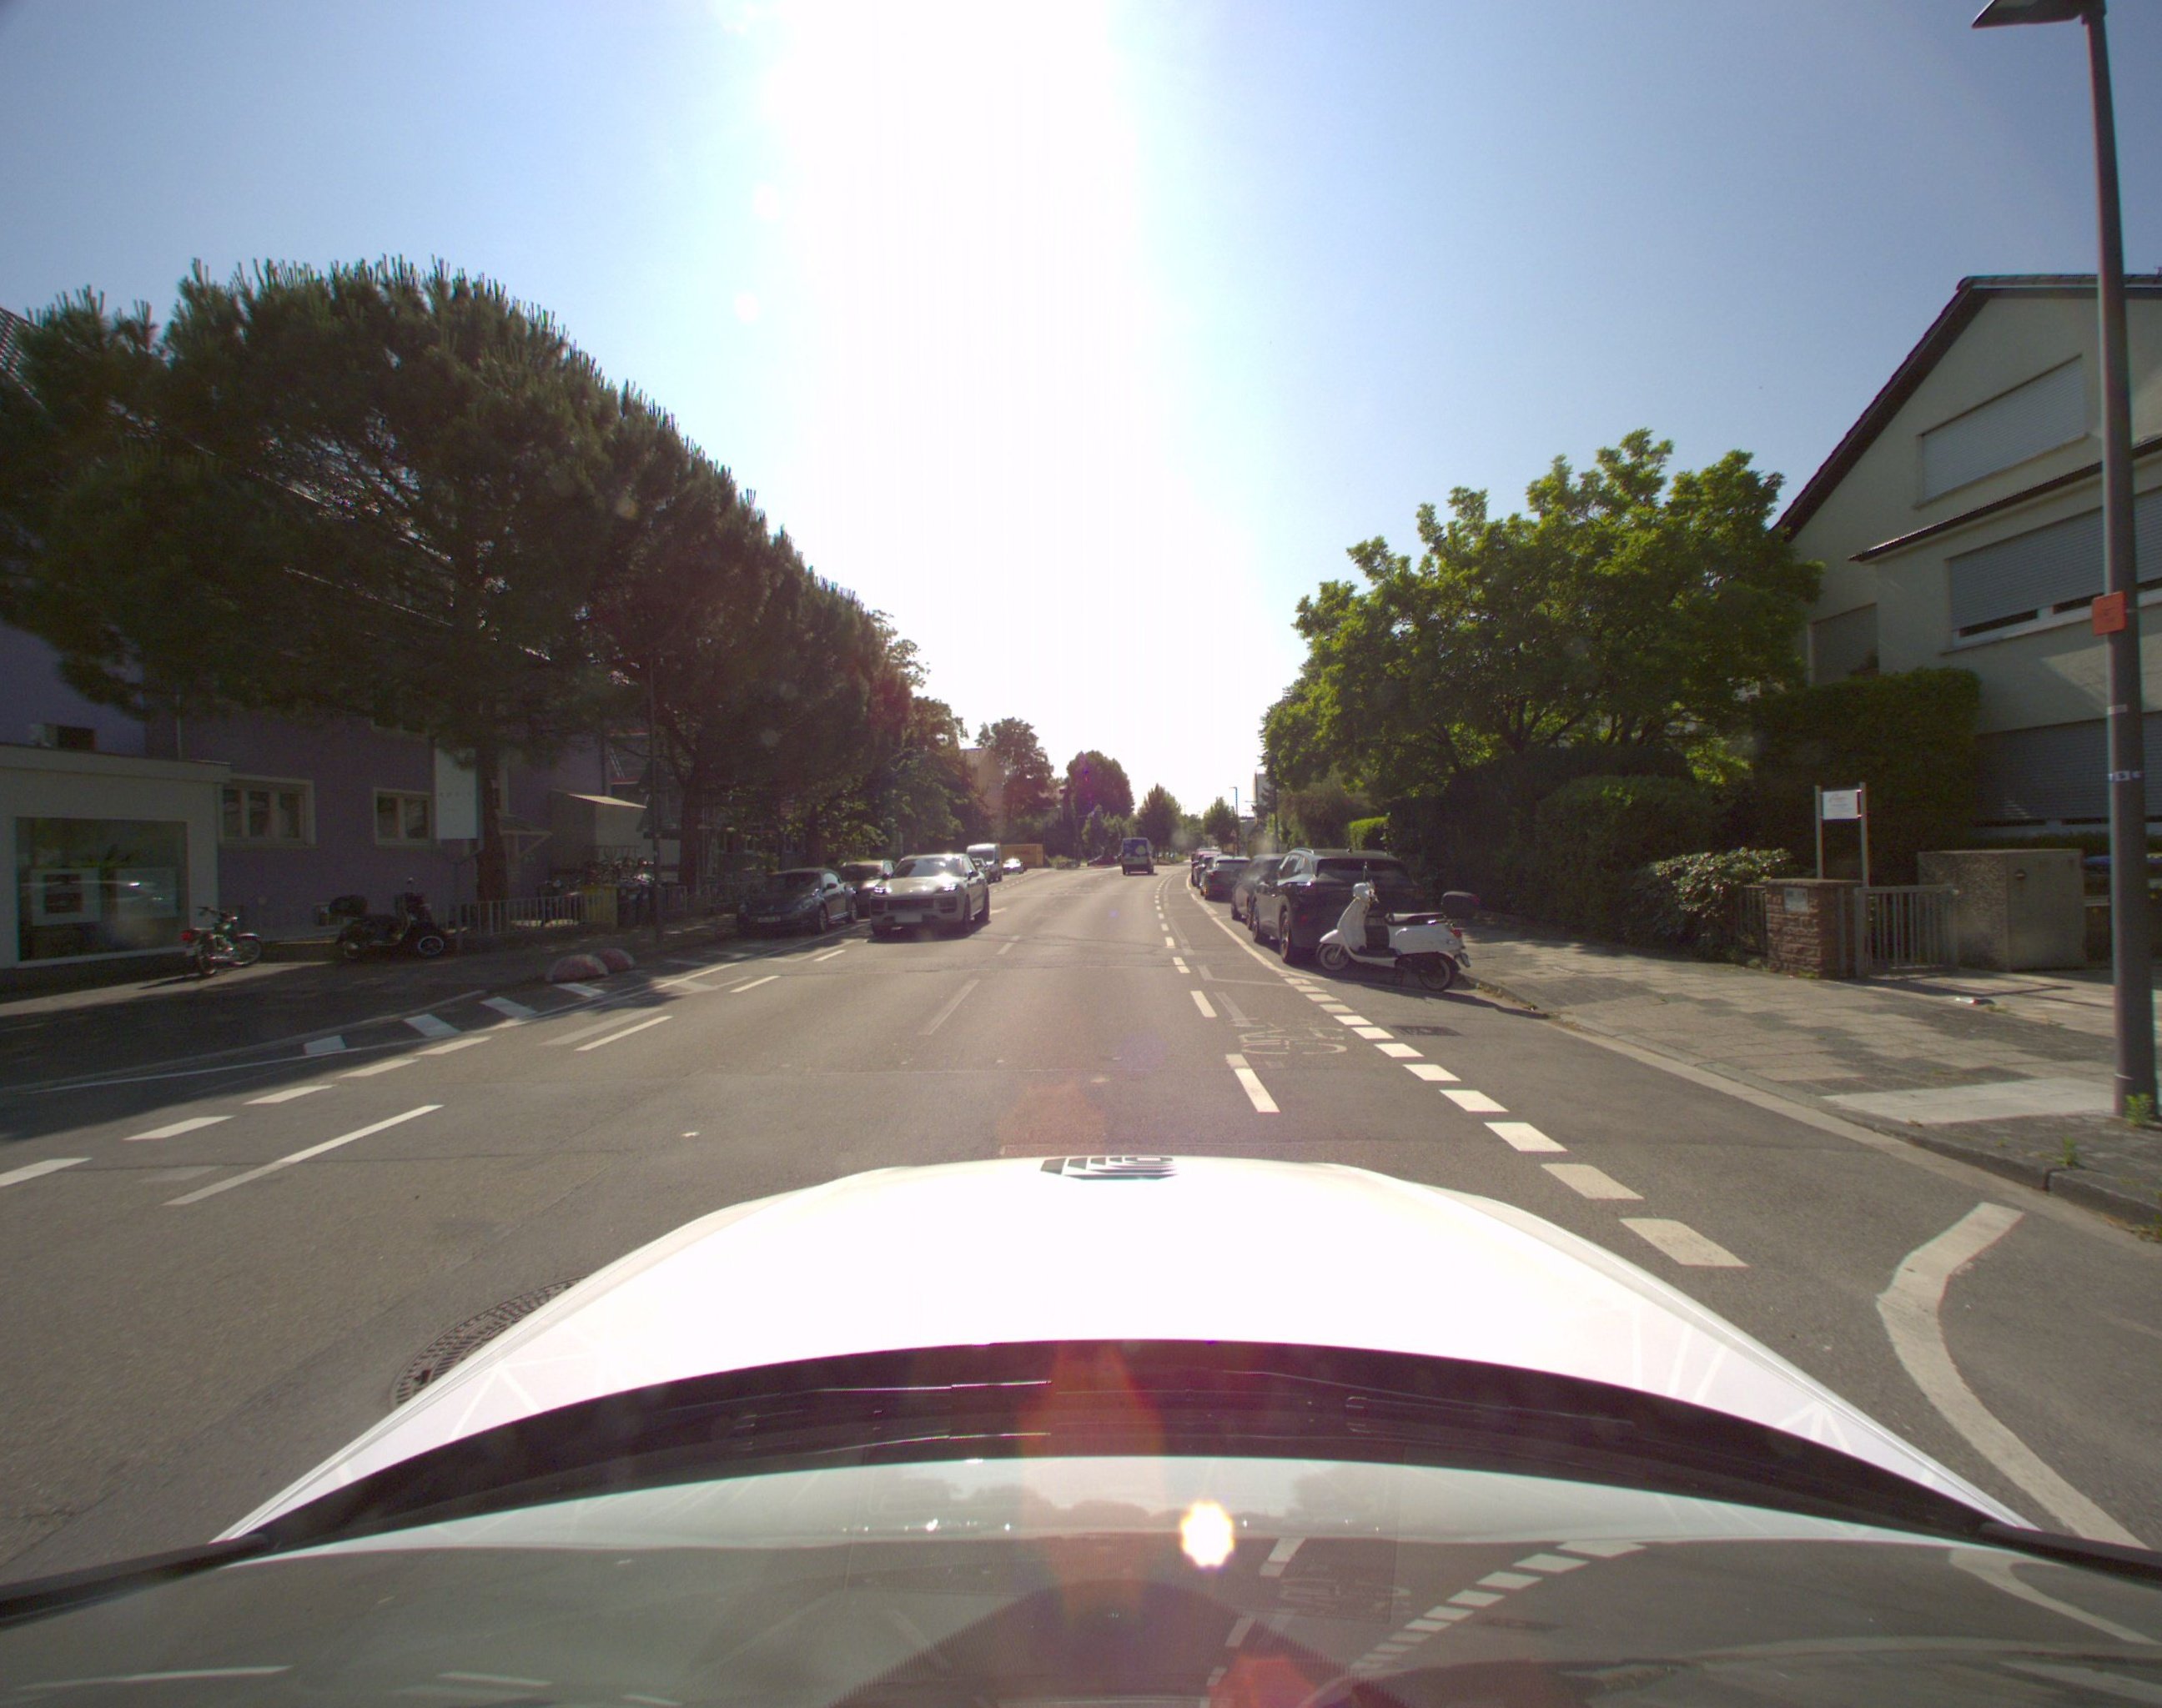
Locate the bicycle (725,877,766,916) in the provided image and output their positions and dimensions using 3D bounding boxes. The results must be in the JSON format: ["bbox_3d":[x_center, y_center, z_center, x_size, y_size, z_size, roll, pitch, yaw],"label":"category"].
[{"bbox_3d":[-10.665,1.329,25.946,0.371,1.146,1.979,-2,-1,3],"label":"bicycle"}]

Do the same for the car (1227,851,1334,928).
[{"bbox_3d":[4.327,0.703,18.188,1.701,1.514,3.906,0,0,4],"label":"car"}]

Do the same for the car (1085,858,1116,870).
[{"bbox_3d":[2.660,1.308,109.873,3.985,1.490,1.624,-2,-1,-9],"label":"car"}]

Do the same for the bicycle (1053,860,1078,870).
[{"bbox_3d":[-1.778,1.221,90.864,2.686,1.047,1.023,-2,-1,-8],"label":"bicycle"}]

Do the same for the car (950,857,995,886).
[{"bbox_3d":[-6.208,0.980,46.925,1.746,1.496,3.658,-2,0,4],"label":"car"}]

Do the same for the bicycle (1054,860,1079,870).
[{"bbox_3d":[-1.599,1.239,92.001,2.686,1.047,1.023,-2,-1,-8],"label":"bicycle"}]

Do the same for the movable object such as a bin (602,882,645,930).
[{"bbox_3d":[-11.084,1.248,19.742,0.602,1.111,0.664,-2,-1,6],"label":"movable object such as a bin"}]

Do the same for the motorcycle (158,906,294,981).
[{"bbox_3d":[-14.149,1.443,13.566,0.643,0.990,2.338,-2,0,-23],"label":"motorcycle"}]

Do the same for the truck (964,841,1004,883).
[{"bbox_3d":[-6.233,0.503,52.966,2.075,2.537,5.462,-2,0,-2],"label":"truck"}]

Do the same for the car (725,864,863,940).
[{"bbox_3d":[-6.610,1.043,19.253,1.775,1.460,4.085,-3,0,0],"label":"car"}]

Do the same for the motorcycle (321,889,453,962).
[{"bbox_3d":[-12.181,1.242,14.325,1.830,1.182,0.644,-2,-1,5],"label":"motorcycle"}]

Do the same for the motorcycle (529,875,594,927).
[{"bbox_3d":[-12.647,1.116,19.869,0.534,1.182,1.449,-2,-1,6],"label":"motorcycle"}]

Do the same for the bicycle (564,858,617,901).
[{"bbox_3d":[-14.708,0.742,24.467,0.534,1.181,1.449,-2,2,6],"label":"bicycle"}]

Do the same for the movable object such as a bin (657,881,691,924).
[{"bbox_3d":[-10.840,1.280,21.690,0.541,1.111,0.586,-2,-1,6],"label":"movable object such as a bin"}]

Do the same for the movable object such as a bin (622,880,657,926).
[{"bbox_3d":[-11.015,1.221,20.320,0.602,1.111,0.432,-2,-1,6],"label":"movable object such as a bin"}]

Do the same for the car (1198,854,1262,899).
[{"bbox_3d":[5.005,0.714,27.783,1.776,1.399,4.330,0,0,5],"label":"car"}]

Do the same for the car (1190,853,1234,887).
[{"bbox_3d":[5.812,0.685,36.446,1.775,1.399,4.131,-1,0,7],"label":"car"}]

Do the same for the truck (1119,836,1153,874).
[{"bbox_3d":[4.060,0.072,59.652,2.262,2.571,4.398,-2,-1,5],"label":"truck"}]

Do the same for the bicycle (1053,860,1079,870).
[{"bbox_3d":[-1.657,1.211,89.734,2.663,1.026,1.023,-2,-1,-8],"label":"bicycle"}]

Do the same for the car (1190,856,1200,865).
[{"bbox_3d":[24.622,1.388,176.100,1.899,2.014,4.006,-2,-1,6],"label":"car"}]

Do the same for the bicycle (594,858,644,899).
[{"bbox_3d":[-13.895,0.712,24.529,0.534,1.182,1.449,-2,-1,6],"label":"bicycle"}]

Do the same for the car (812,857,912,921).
[{"bbox_3d":[-6.554,0.980,24.835,1.903,1.677,4.256,-3,0,-2],"label":"car"}]

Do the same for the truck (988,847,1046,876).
[{"bbox_3d":[-6.831,0.798,86.557,5.625,2.946,2.230,-2,-1,15],"label":"truck"}]

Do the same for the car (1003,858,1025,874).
[{"bbox_3d":[-6.104,1.097,74.588,1.749,1.343,3.652,-2,0,-1],"label":"car"}]

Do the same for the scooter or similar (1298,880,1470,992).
[{"bbox_3d":[3.613,0.926,9.811,0.724,1.154,1.775,2,0,-45],"label":"scooter or similar"}]

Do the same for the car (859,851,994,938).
[{"bbox_3d":[-3.289,0.802,18.337,1.986,1.657,4.606,-2,0,1],"label":"car"}]

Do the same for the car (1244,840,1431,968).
[{"bbox_3d":[3.734,0.640,12.673,1.777,1.638,4.475,0,0,4],"label":"car"}]

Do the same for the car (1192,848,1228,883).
[{"bbox_3d":[6.581,0.548,41.751,1.691,1.677,3.783,-2,0,8],"label":"car"}]

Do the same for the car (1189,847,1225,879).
[{"bbox_3d":[7.236,0.508,47.075,1.693,1.677,3.778,-2,0,3],"label":"car"}]

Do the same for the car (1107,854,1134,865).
[{"bbox_3d":[6.175,0.853,126.507,3.985,1.490,1.624,-2,-1,-9],"label":"car"}]
